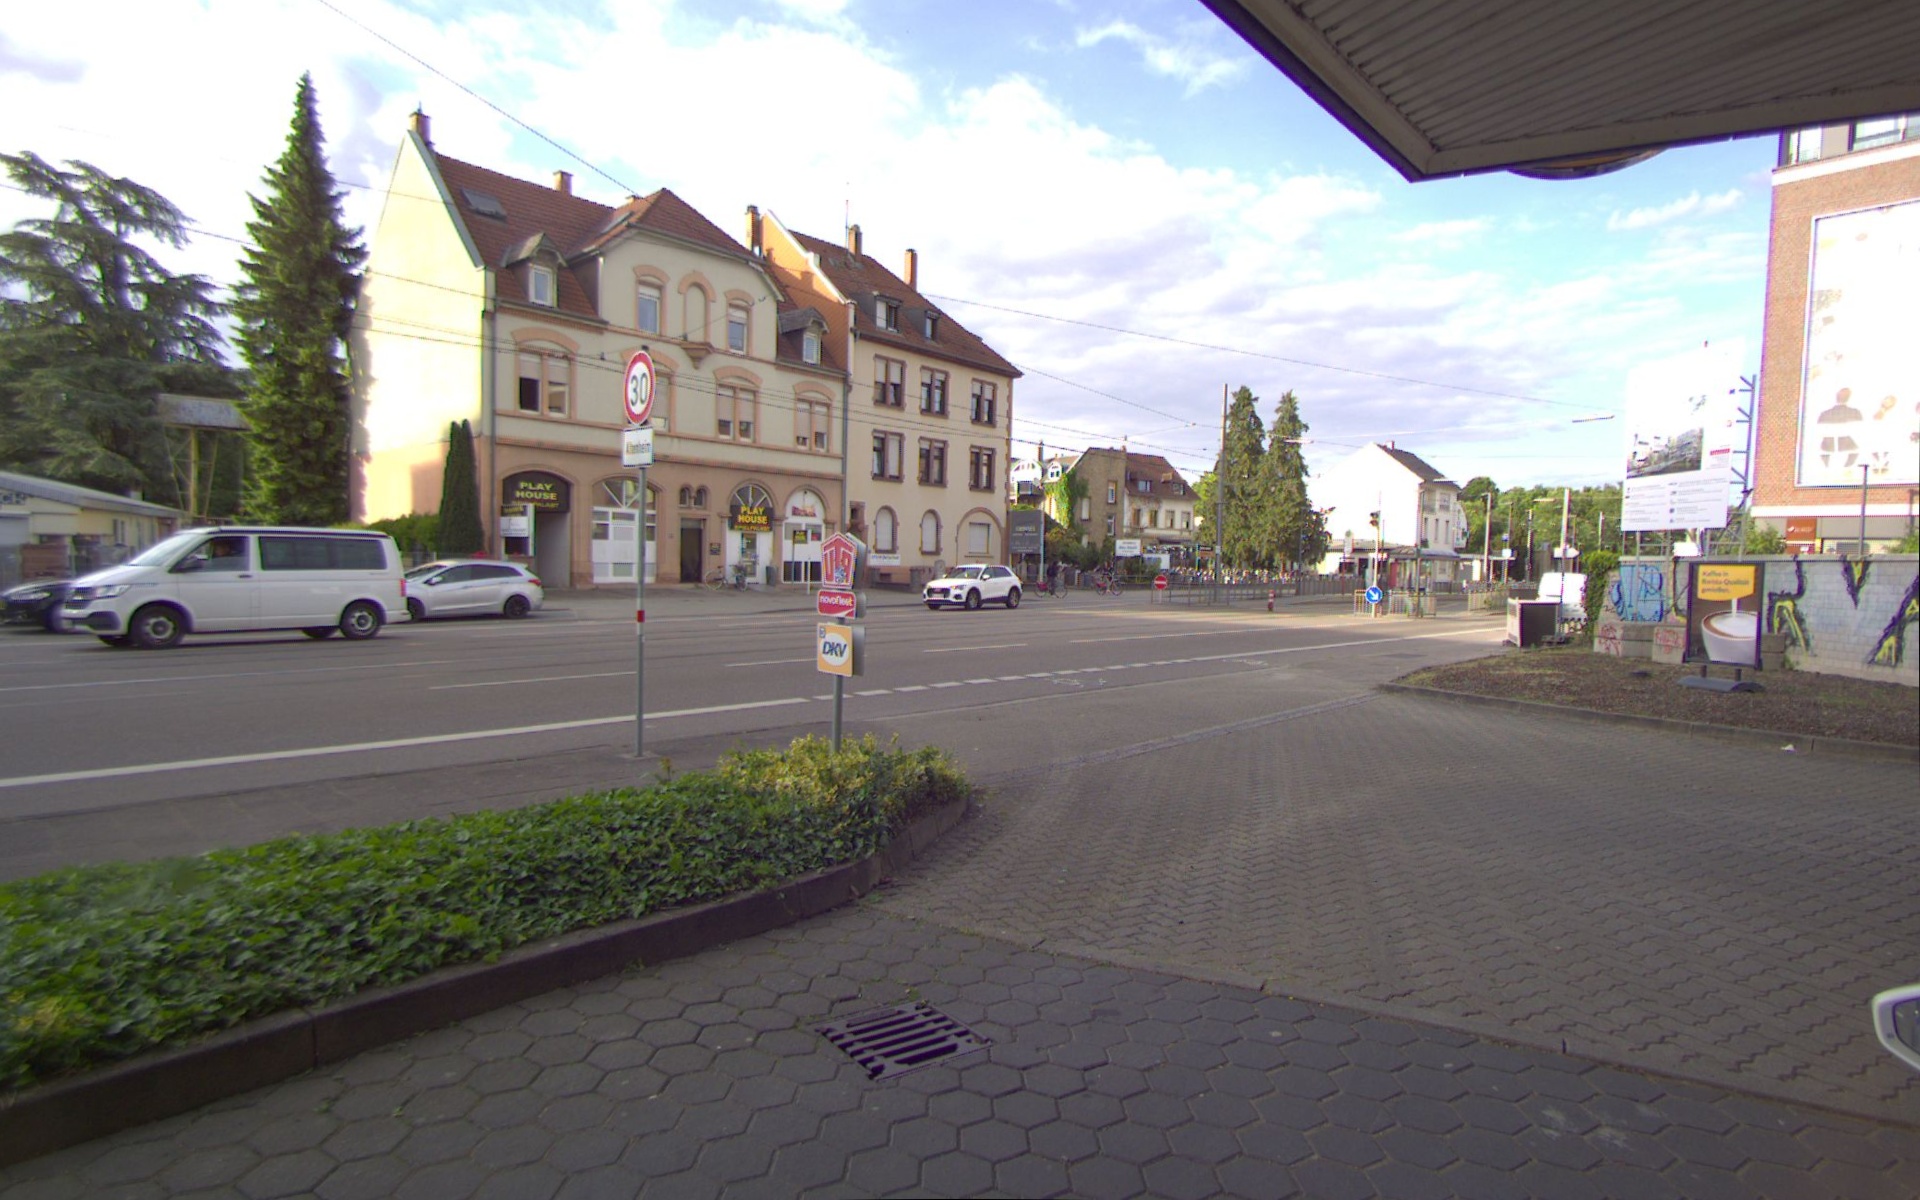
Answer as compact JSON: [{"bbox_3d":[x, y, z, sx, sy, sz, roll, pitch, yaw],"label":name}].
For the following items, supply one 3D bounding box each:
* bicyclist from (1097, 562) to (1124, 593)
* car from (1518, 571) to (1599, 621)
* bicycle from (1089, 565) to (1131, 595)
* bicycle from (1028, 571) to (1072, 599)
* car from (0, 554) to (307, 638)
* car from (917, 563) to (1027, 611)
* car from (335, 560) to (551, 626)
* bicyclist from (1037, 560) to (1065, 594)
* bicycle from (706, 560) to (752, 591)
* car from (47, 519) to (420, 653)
[{"bbox_3d":[7.963,-1.188,53.057,1.079,1.512,0.785,2,4,-20],"label":"bicyclist"},{"bbox_3d":[24.892,-0.179,41.716,1.941,1.915,4.385,4,3,43],"label":"car"},{"bbox_3d":[7.910,-1.054,53.047,1.962,1.512,0.785,2,4,-21],"label":"bicycle"},{"bbox_3d":[4.354,-0.719,48.583,1.884,1.219,0.839,1,6,-31],"label":"bicycle"},{"bbox_3d":[-16.564,-0.147,20.741,1.970,1.516,4.801,3,3,40],"label":"car"},{"bbox_3d":[0.489,-0.499,35.555,1.810,1.598,4.367,1,2,34],"label":"car"},{"bbox_3d":[-12.995,-0.246,25.473,1.970,1.495,4.467,3,3,40],"label":"car"},{"bbox_3d":[4.383,-1.110,48.538,0.953,1.579,0.839,1,6,-31],"label":"bicyclist"},{"bbox_3d":[-9.137,-0.957,39.717,0.508,1.189,1.809,4,2,40],"label":"bicycle"},{"bbox_3d":[-12.332,-0.291,17.429,1.967,1.995,4.873,2,3,35],"label":"car"}]
